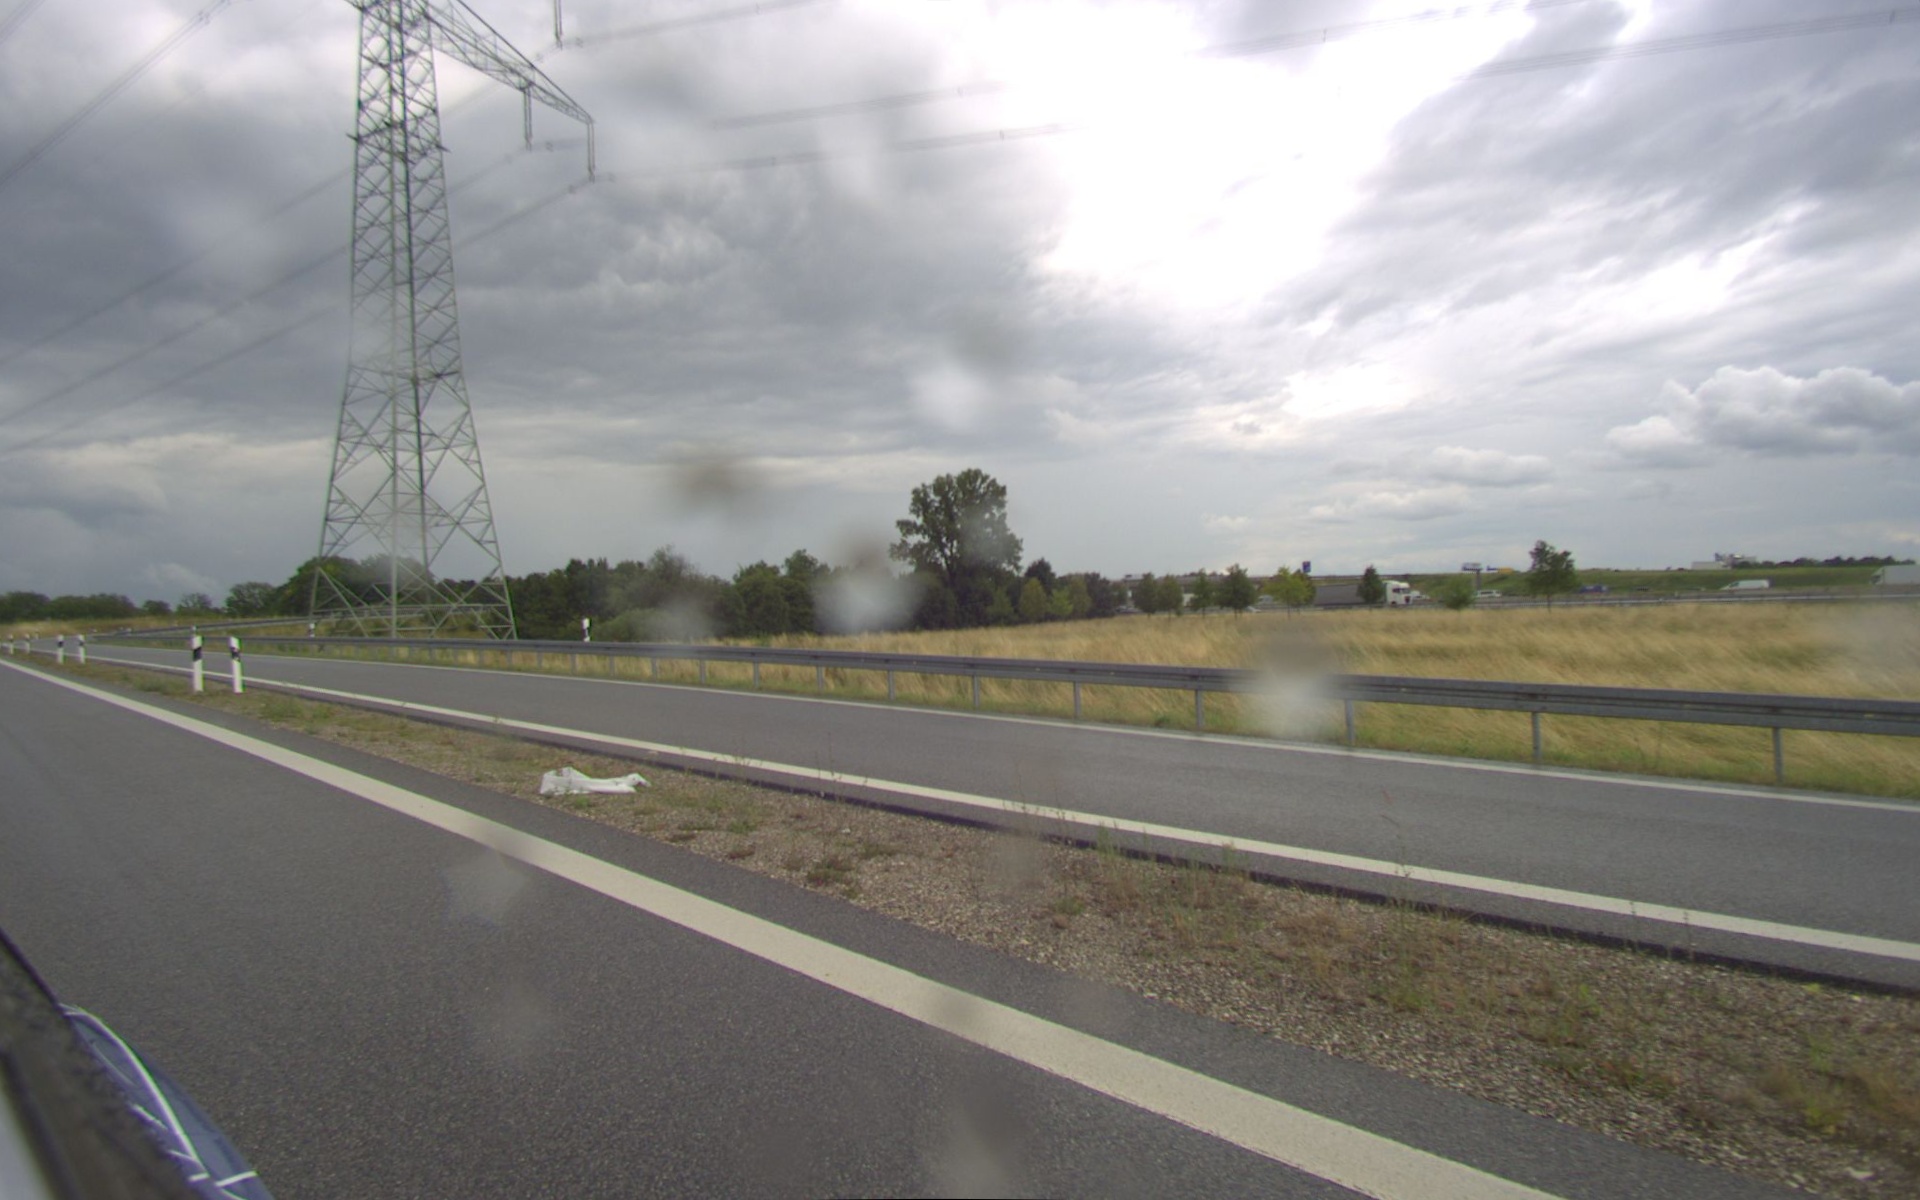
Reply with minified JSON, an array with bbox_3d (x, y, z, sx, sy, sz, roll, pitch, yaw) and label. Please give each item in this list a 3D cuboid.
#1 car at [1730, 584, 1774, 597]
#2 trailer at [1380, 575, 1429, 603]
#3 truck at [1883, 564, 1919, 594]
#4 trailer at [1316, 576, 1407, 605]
[{"bbox_3d":[102.812,-1.230,131.421,1.966,1.404,4.012,-3,-2,-28],"label":"car"},{"bbox_3d":[65.870,-1.566,149.989,2.801,3.812,5.913,-3,0,-33],"label":"trailer"},{"bbox_3d":[119.533,-2.765,125.425,1.966,3.497,7.129,-2,-2,-30],"label":"truck"},{"bbox_3d":[61.776,-1.372,156.167,2.811,3.811,13.695,-2,0,-34],"label":"trailer"}]
